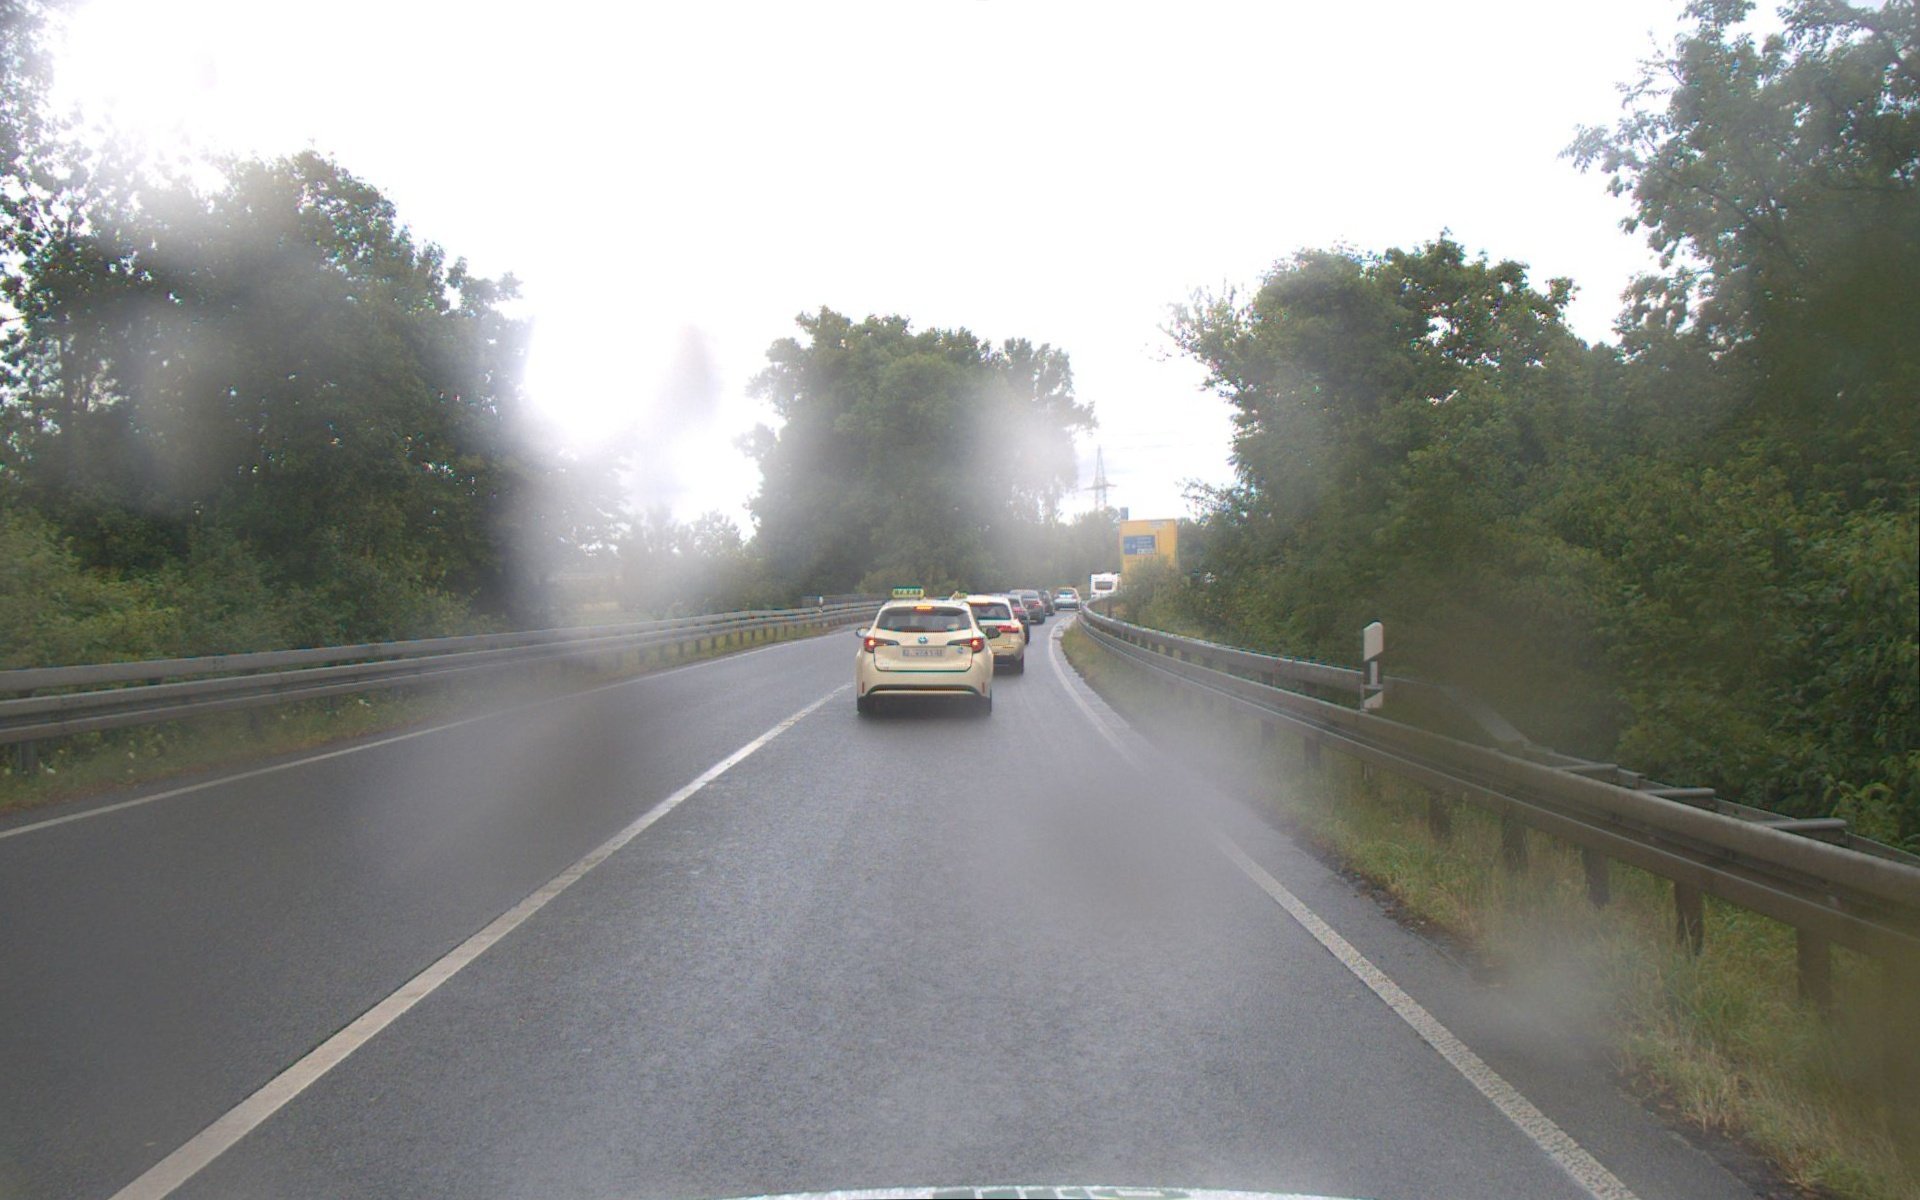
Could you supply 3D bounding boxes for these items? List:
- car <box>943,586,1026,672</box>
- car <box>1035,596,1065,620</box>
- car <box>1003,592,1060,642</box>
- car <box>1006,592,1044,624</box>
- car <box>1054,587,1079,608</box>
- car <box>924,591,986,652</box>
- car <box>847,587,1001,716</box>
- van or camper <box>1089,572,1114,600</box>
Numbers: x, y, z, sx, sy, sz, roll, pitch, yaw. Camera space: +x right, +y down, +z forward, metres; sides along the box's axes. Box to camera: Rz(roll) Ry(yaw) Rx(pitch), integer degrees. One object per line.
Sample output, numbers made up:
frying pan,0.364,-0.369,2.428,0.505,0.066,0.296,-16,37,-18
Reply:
car,0.531,0.543,32.837,1.545,1.600,3.682,0,0,2
car,5.109,0.448,93.664,1.451,1.332,3.479,0,0,6
car,2.181,0.505,51.144,1.631,1.489,3.477,0,0,1
car,2.977,0.370,75.176,1.625,1.434,3.906,0,-1,3
car,7.110,-0.161,110.632,1.451,1.332,3.479,0,0,7
car,-0.110,0.515,41.453,1.475,1.462,3.356,1,0,0
car,-0.383,0.623,22.199,1.866,1.564,4.162,0,0,1
van or camper,11.996,-1.180,140.332,1.951,2.293,4.003,0,0,7
